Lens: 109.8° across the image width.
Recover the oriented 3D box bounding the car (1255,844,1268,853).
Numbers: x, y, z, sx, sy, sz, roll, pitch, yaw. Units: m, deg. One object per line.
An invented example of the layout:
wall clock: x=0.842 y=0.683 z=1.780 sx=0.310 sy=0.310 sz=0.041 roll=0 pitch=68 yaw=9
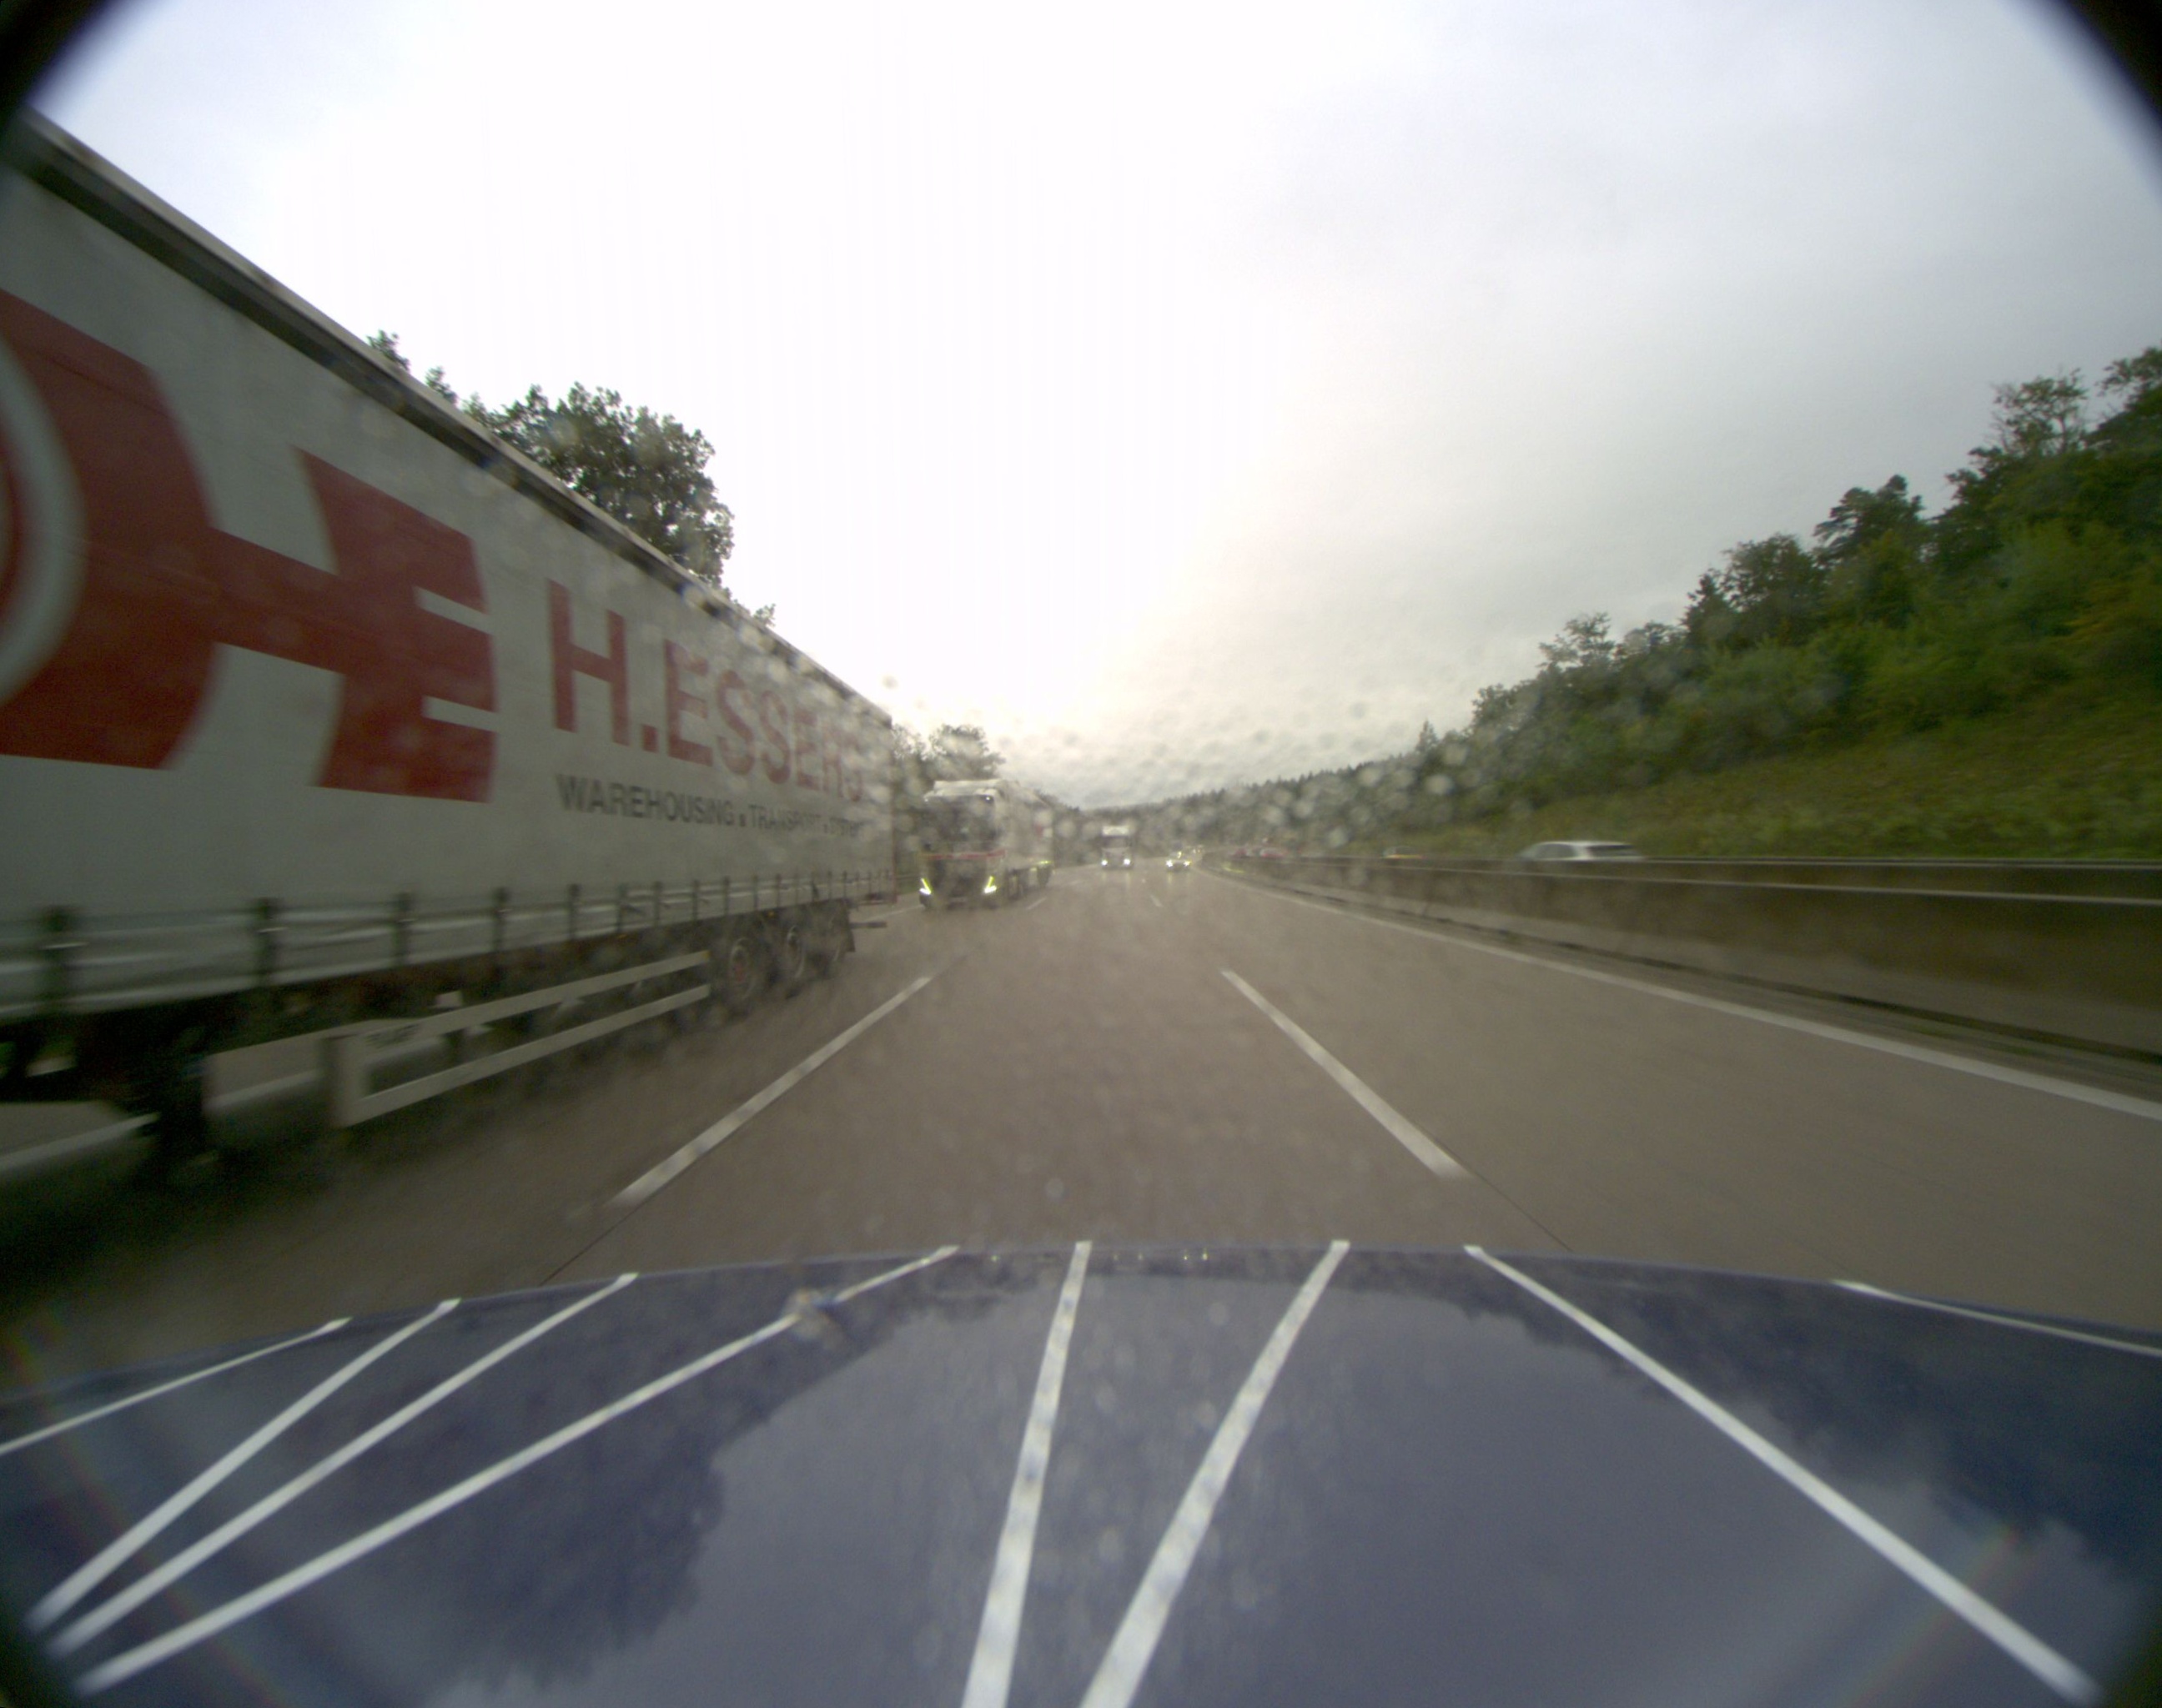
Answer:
car: x=30.160 y=-0.883 z=127.104 sx=1.808 sy=1.338 sz=4.769 roll=-2 pitch=0 yaw=9

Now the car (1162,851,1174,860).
car: x=14.990 y=0.260 z=130.838 sx=1.715 sy=1.399 sz=4.939 roll=-2 pitch=0 yaw=11

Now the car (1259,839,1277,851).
car: x=23.040 y=-1.106 z=93.601 sx=1.656 sy=1.338 sz=4.088 roll=-2 pitch=0 yaw=7

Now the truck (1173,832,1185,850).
truck: x=24.657 y=-3.186 z=191.895 sx=2.736 sy=4.127 sz=8.626 roll=-3 pitch=0 yaw=7

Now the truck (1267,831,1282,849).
truck: x=45.452 y=-3.281 z=179.079 sx=3.031 sy=3.852 sz=8.123 roll=-2 pitch=0 yaw=12

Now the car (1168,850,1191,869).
car: x=7.785 y=0.412 z=60.365 sx=1.716 sy=1.399 sz=4.938 roll=-2 pitch=0 yaw=6

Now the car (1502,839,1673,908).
car: x=12.924 y=0.433 z=19.761 sx=1.745 sy=1.552 sz=4.284 roll=-2 pitch=0 yaw=3

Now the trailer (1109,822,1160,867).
trailer: x=5.714 y=-0.983 z=77.997 sx=2.683 sy=4.017 sz=13.717 roll=-4 pitch=0 yaw=13

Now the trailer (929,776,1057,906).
trailer: x=-3.065 y=-0.462 z=31.289 sx=2.740 sy=4.080 sz=13.684 roll=-2 pitch=0 yaw=3

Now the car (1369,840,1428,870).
car: x=18.086 y=0.035 z=43.512 sx=1.745 sy=1.552 sz=4.284 roll=-2 pitch=0 yaw=3

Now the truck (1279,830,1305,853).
truck: x=32.066 y=-1.900 z=115.767 sx=2.627 sy=3.277 sz=9.387 roll=-2 pitch=0 yaw=9

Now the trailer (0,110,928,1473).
trailer: x=-4.124 y=-0.196 z=6.972 sx=2.376 sy=3.931 sz=12.521 roll=-1 pitch=0 yaw=2

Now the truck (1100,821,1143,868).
truck: x=3.812 y=-0.857 z=70.411 sx=2.725 sy=4.017 sz=5.757 roll=-4 pitch=0 yaw=13

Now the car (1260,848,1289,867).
car: x=17.025 y=0.268 z=66.932 sx=1.868 sy=1.539 sz=4.001 roll=-2 pitch=0 yaw=5

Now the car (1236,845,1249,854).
car: x=25.717 y=-0.755 z=121.072 sx=1.657 sy=1.338 sz=4.087 roll=-2 pitch=0 yaw=6

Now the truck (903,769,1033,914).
truck: x=-3.477 y=-0.373 z=25.029 sx=2.805 sy=4.080 sz=5.969 roll=-2 pitch=1 yaw=4

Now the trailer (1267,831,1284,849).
trailer: x=43.901 y=-3.179 z=171.680 sx=3.019 sy=3.852 sz=13.711 roll=-2 pitch=0 yaw=12
